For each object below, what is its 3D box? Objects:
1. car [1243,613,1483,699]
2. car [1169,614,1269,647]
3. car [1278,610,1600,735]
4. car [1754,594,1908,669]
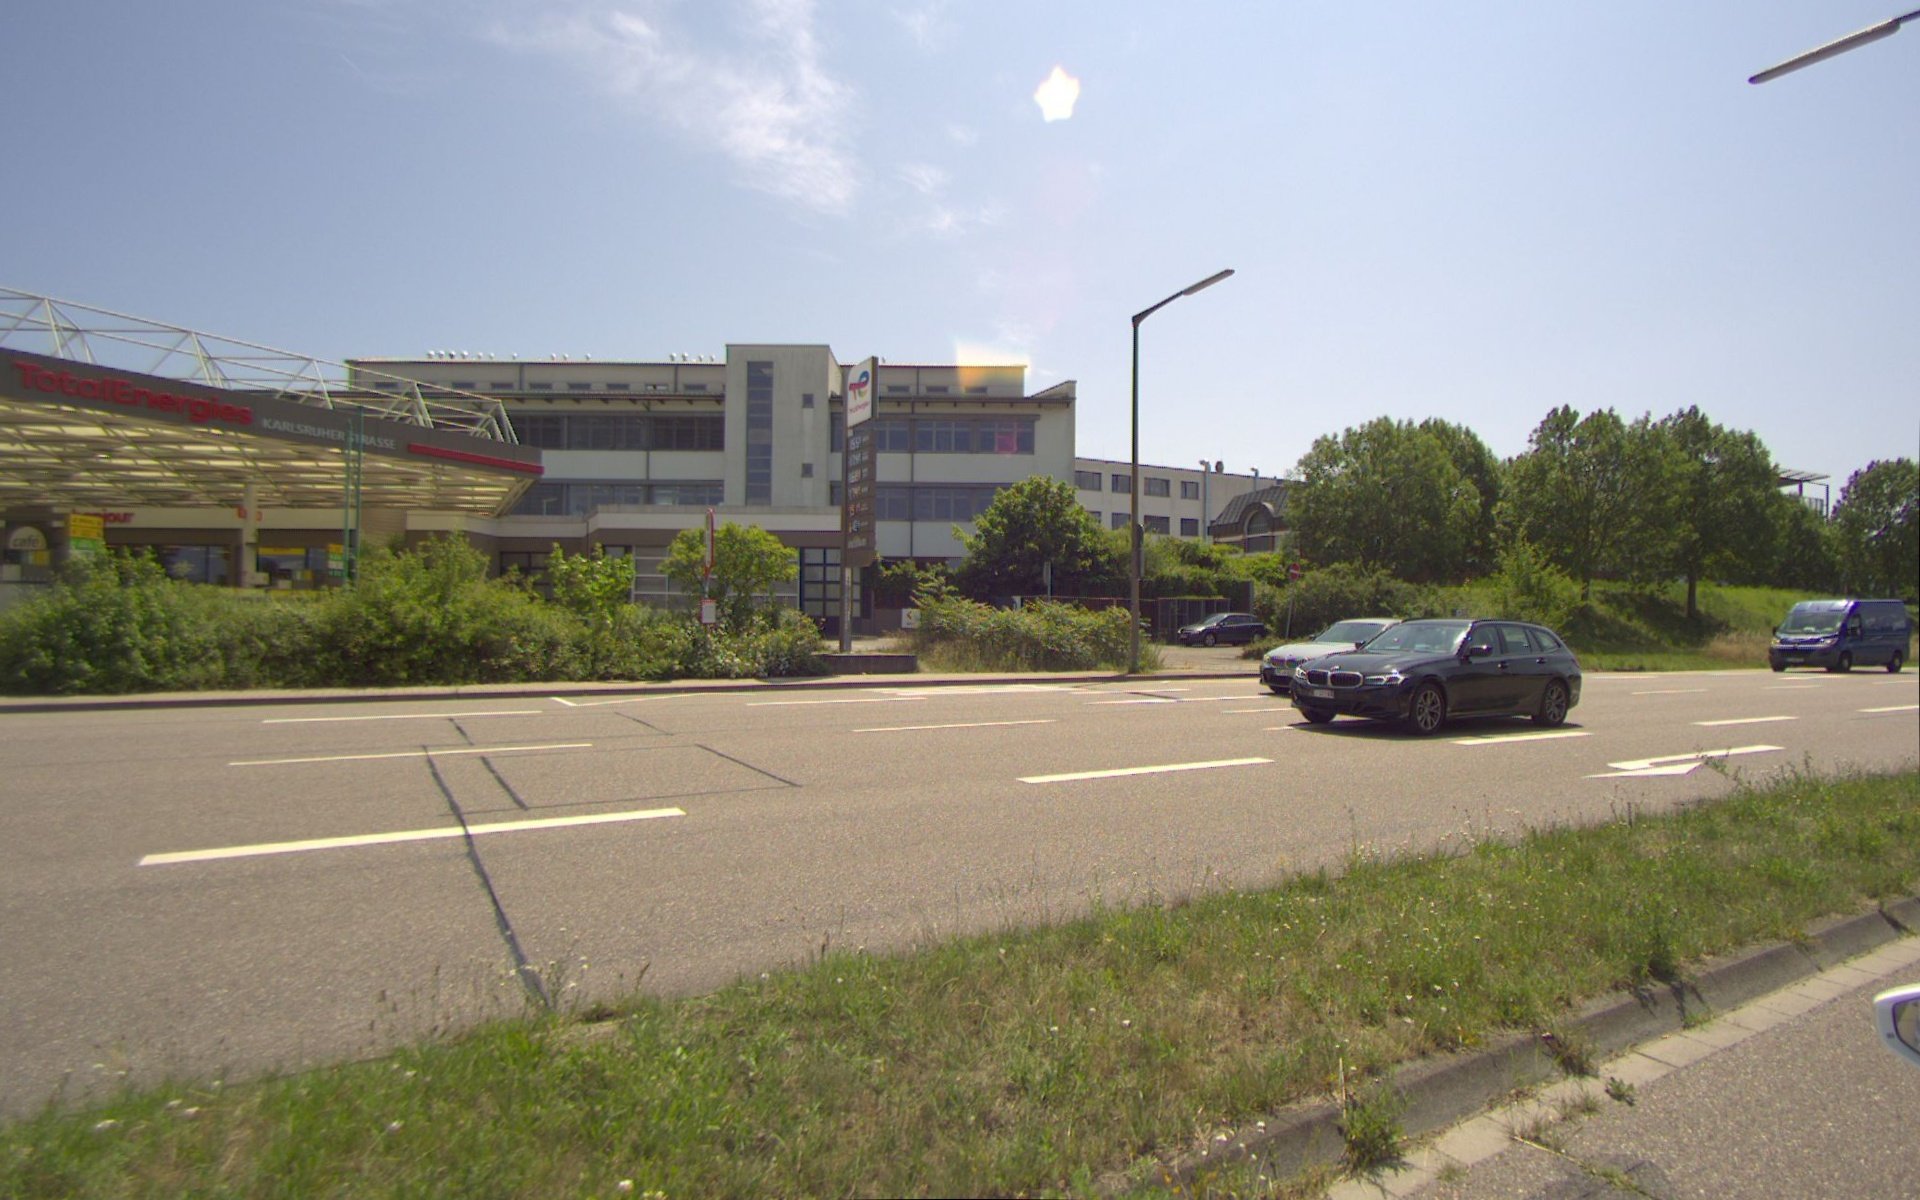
[{"bbox_3d":[7.761,1.015,19.199,4.798,1.468,1.821,1,-1,-32],"label":"car"},{"bbox_3d":[11.450,1.359,44.467,3.941,1.428,1.874,1,-1,-22],"label":"car"},{"bbox_3d":[6.606,0.915,13.731,4.509,1.477,1.723,1,-1,-29],"label":"car"},{"bbox_3d":[30.125,1.080,34.700,5.599,2.443,2.165,1,-1,-28],"label":"car"}]
